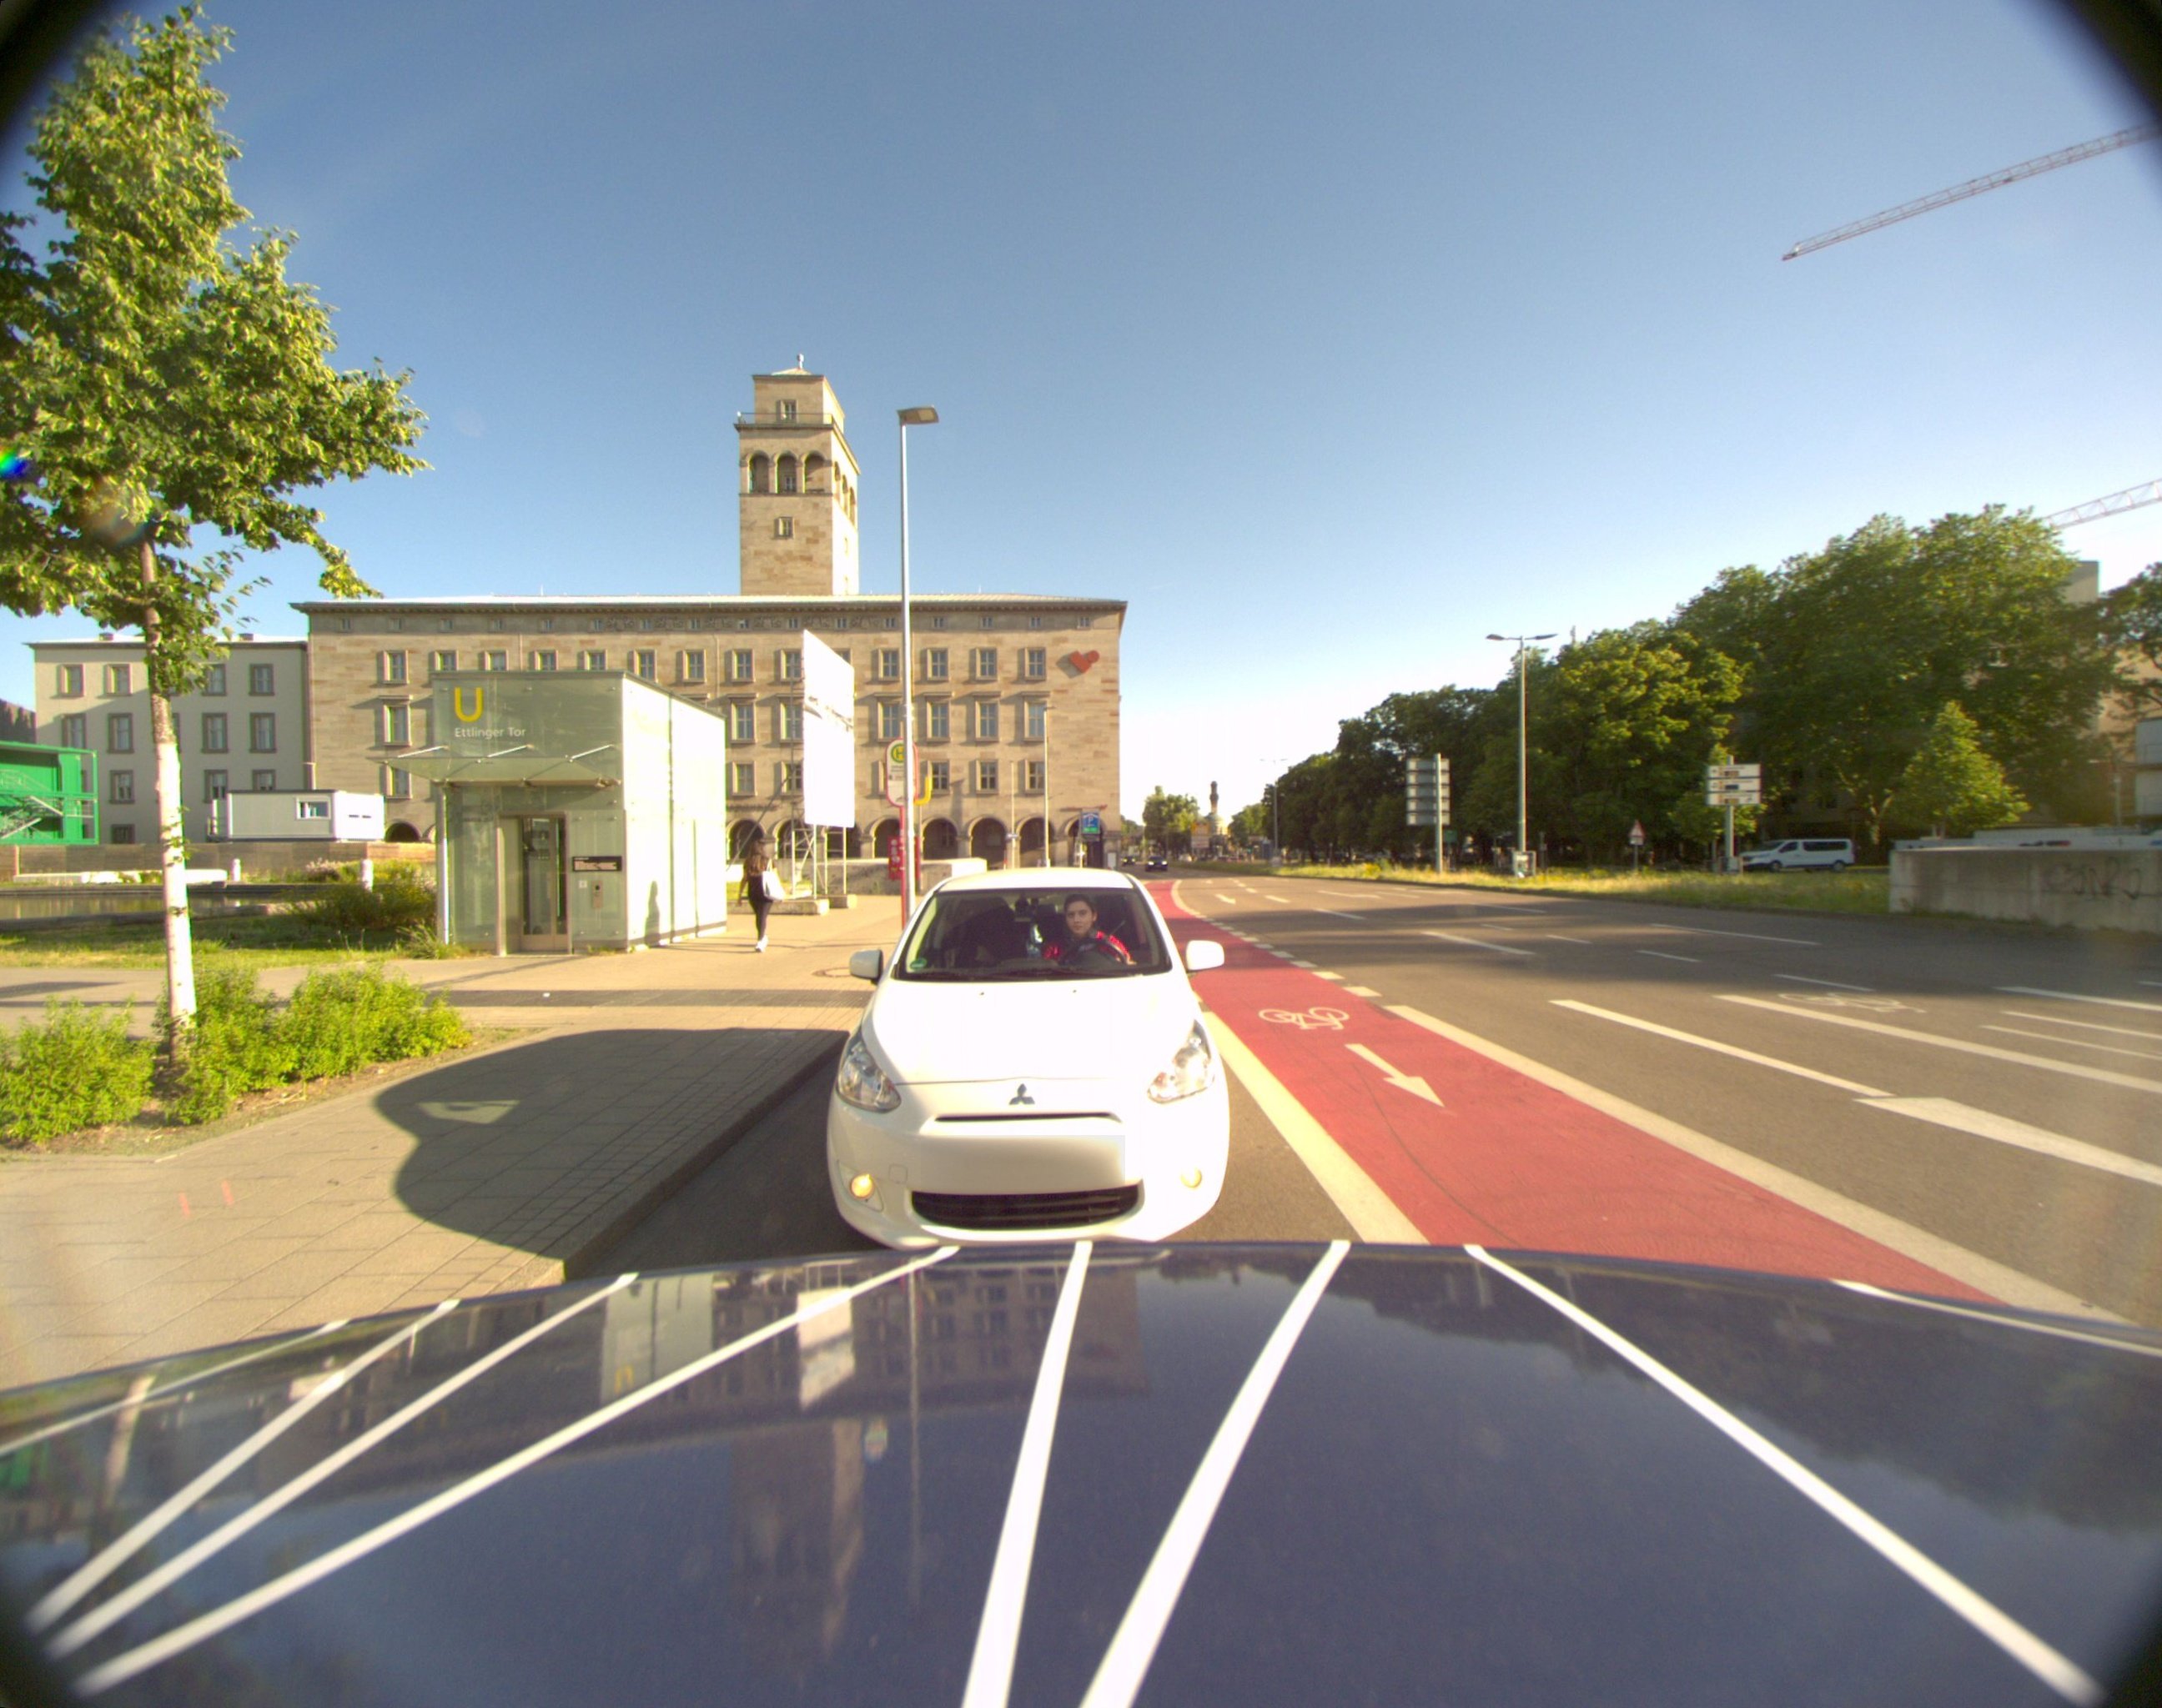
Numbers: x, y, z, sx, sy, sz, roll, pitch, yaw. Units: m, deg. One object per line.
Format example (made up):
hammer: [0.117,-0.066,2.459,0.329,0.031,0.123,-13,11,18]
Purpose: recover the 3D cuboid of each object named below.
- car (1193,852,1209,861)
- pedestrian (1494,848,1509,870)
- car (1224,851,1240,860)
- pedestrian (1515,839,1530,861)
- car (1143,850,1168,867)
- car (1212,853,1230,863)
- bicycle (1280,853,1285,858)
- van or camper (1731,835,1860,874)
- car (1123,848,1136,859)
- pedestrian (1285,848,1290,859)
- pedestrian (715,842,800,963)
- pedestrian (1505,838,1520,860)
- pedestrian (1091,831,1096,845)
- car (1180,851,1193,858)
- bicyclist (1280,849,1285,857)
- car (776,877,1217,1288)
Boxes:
car: [20.351,0.418,128.514,1.873,1.390,3.999,-1,0,-3]
pedestrian: [32.545,0.401,58.817,0.707,1.715,0.762,-1,1,1]
car: [25.723,0.298,129.733,1.998,1.499,4.000,-1,0,2]
pedestrian: [34.145,-0.286,58.801,0.707,1.715,0.762,-1,1,1]
car: [7.728,0.448,78.884,1.938,1.634,4.615,-1,0,-2]
car: [21.076,0.557,114.436,1.872,1.390,3.999,-1,0,-1]
bicycle: [32.147,0.274,121.124,0.610,0.838,1.747,-1,0,9]
van or camper: [42.297,0.024,45.074,5.649,2.002,1.948,-2,1,2]
car: [7.737,-0.103,121.094,1.998,1.709,4.326,-1,0,2]
pedestrian: [34.655,-0.071,127.511,0.626,1.837,0.927,0,1,38]
pedestrian: [-5.006,0.728,11.830,0.943,1.776,1.071,2,0,-10]
pedestrian: [33.379,-0.366,58.784,0.665,1.715,0.762,-1,1,1]
pedestrian: [1.668,-2.077,100.203,0.704,1.843,0.828,-1,1,0]
car: [20.092,0.102,144.875,1.873,1.390,3.999,-1,0,-2]
bicyclist: [32.143,-0.225,121.115,0.610,1.274,0.715,-1,1,9]
car: [-0.259,0.963,4.919,1.678,1.440,3.889,-2,0,2]
